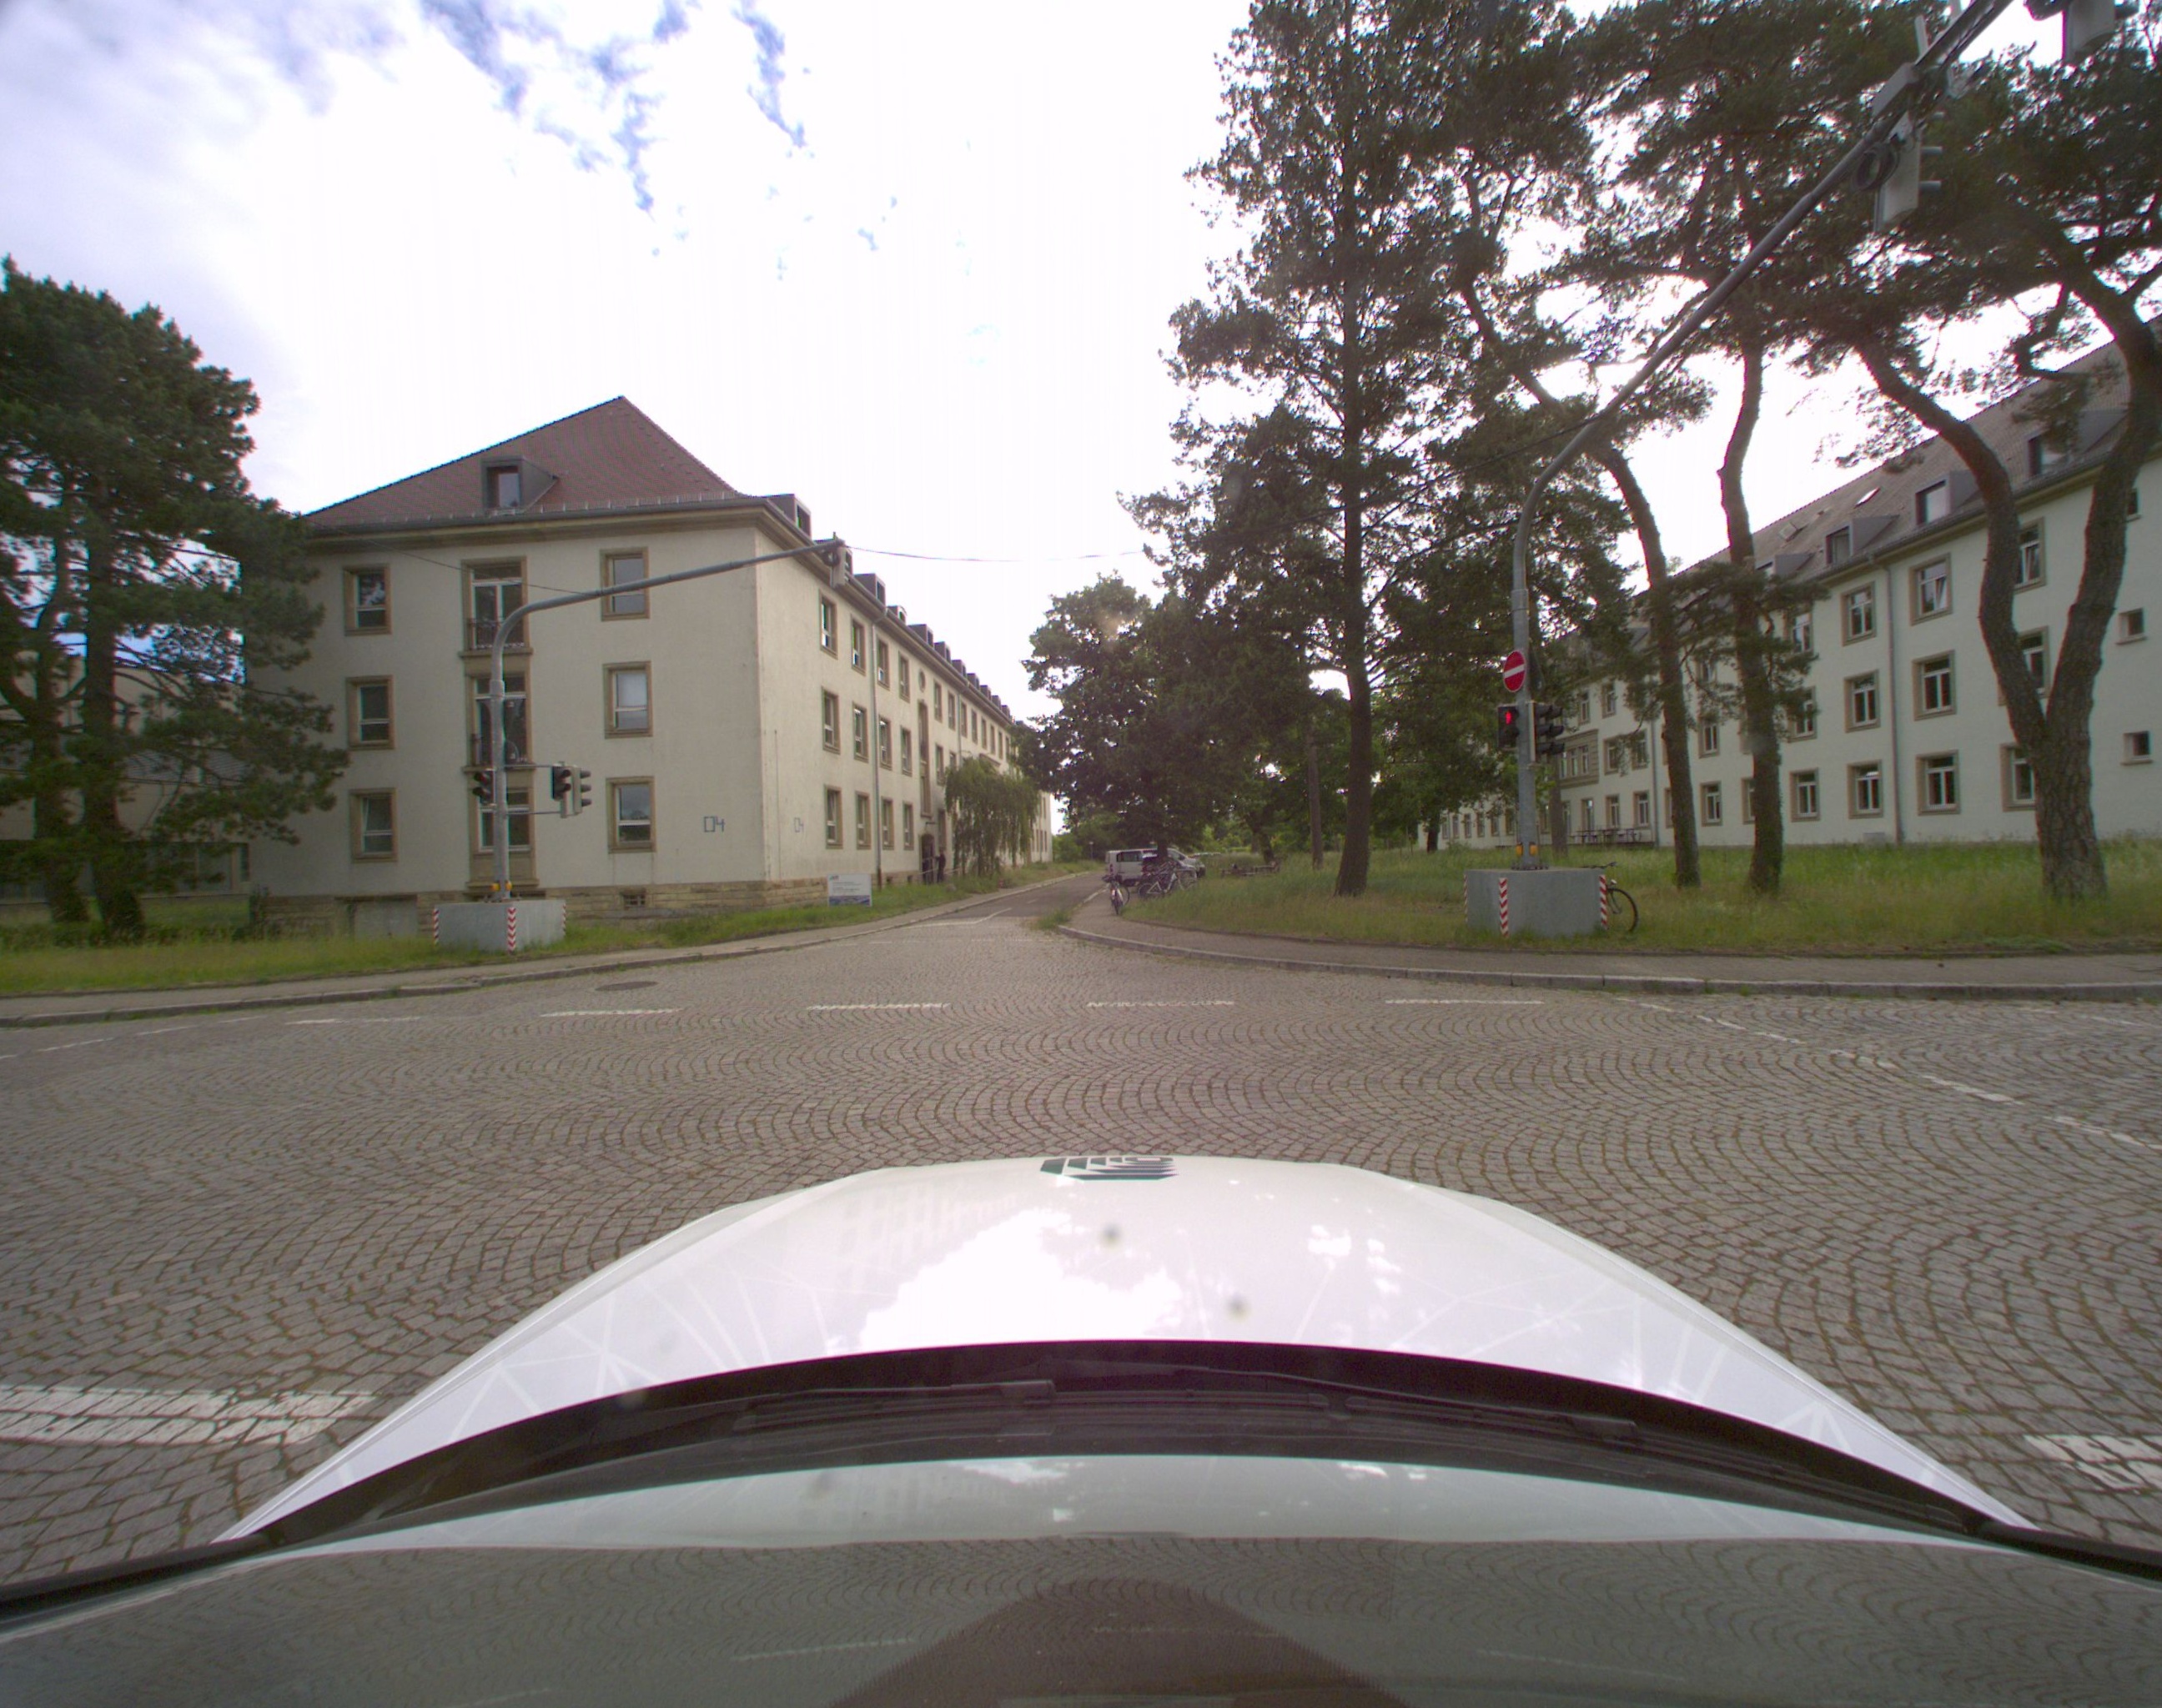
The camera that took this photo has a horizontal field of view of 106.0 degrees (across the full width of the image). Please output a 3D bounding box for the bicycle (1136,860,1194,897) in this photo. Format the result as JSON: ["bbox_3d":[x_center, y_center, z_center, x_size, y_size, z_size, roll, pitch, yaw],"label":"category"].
[{"bbox_3d":[2.892,0.846,28.160,1.974,1.248,0.625,-1,-1,3],"label":"bicycle"}]

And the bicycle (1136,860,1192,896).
[{"bbox_3d":[2.963,0.852,29.238,1.974,1.248,0.625,-1,-1,3],"label":"bicycle"}]

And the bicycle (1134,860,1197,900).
[{"bbox_3d":[2.706,0.835,26.148,1.974,1.248,0.625,-1,-1,3],"label":"bicycle"}]

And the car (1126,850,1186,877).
[{"bbox_3d":[5.202,0.638,56.525,4.014,1.718,1.683,-2,-1,4],"label":"car"}]

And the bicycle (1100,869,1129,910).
[{"bbox_3d":[0.977,0.991,23.300,0.618,1.082,1.682,-1,-1,9],"label":"bicycle"}]

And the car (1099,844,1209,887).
[{"bbox_3d":[3.800,0.591,42.686,5.304,1.916,2.143,-3,0,-10],"label":"car"}]

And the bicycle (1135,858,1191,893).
[{"bbox_3d":[2.982,0.777,29.753,1.974,1.248,0.625,-1,-1,3],"label":"bicycle"}]

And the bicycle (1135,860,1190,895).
[{"bbox_3d":[3.007,0.858,30.246,1.974,1.248,0.625,-1,-1,3],"label":"bicycle"}]

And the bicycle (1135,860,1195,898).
[{"bbox_3d":[2.833,0.843,27.637,1.974,1.248,0.625,-1,-1,3],"label":"bicycle"}]

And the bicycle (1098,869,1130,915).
[{"bbox_3d":[0.883,0.964,21.344,0.619,1.113,1.993,-1,0,8],"label":"bicycle"}]

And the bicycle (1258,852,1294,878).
[{"bbox_3d":[9.014,0.505,37.689,1.541,1.124,0.402,-2,-1,6],"label":"bicycle"}]

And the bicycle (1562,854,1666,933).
[{"bbox_3d":[7.599,0.533,11.694,0.577,0.970,1.682,-4,1,9],"label":"bicycle"}]

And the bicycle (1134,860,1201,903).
[{"bbox_3d":[2.592,0.826,24.595,1.974,1.248,0.625,-1,-1,3],"label":"bicycle"}]

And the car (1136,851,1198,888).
[{"bbox_3d":[4.117,0.740,39.165,2.834,1.558,1.474,-3,1,4],"label":"car"}]

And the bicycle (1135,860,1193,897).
[{"bbox_3d":[2.885,0.849,28.556,1.974,1.248,0.625,-1,-1,3],"label":"bicycle"}]

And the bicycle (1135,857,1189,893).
[{"bbox_3d":[3.059,0.786,30.906,1.974,1.248,0.625,-4,-1,3],"label":"bicycle"}]

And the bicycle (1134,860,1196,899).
[{"bbox_3d":[2.775,0.840,27.006,1.974,1.248,0.625,-1,-1,3],"label":"bicycle"}]

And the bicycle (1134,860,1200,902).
[{"bbox_3d":[2.644,0.829,25.222,1.974,1.248,0.625,-1,-1,3],"label":"bicycle"}]

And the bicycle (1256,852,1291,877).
[{"bbox_3d":[9.192,0.507,38.911,1.541,1.124,0.402,-2,-1,6],"label":"bicycle"}]

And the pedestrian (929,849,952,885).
[{"bbox_3d":[-7.124,0.657,41.401,0.832,1.781,0.944,-2,0,10],"label":"pedestrian"}]
